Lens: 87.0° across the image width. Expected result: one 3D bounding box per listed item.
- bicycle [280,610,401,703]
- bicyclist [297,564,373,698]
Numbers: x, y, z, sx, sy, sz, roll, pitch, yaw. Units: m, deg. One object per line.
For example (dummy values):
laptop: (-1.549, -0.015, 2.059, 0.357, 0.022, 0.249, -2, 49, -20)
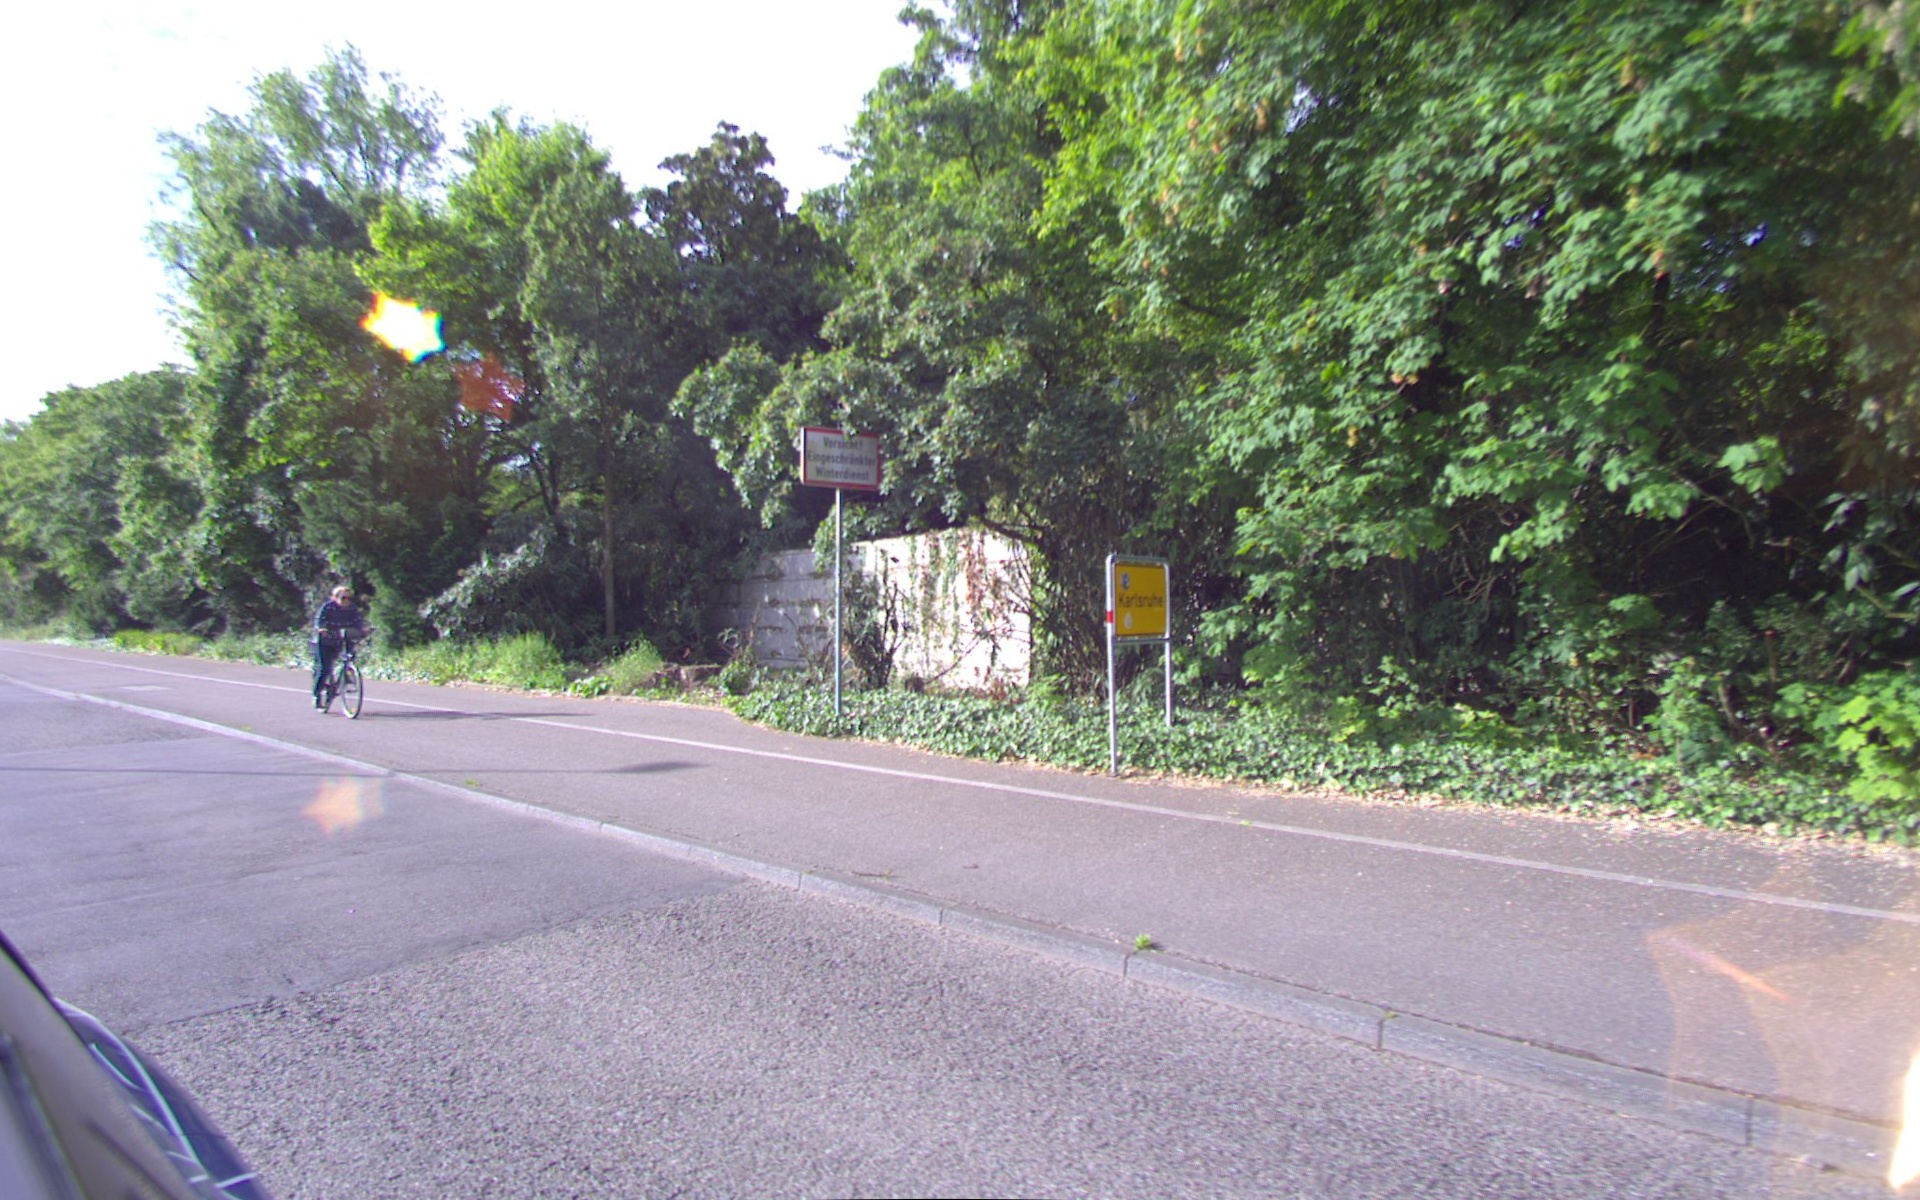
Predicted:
bicycle: (-8.116, 0.687, 13.213, 2.347, 1.105, 0.656, 0, 0, 40)
bicyclist: (-8.219, 0.389, 13.305, 0.883, 1.689, 0.602, 0, 1, 40)
